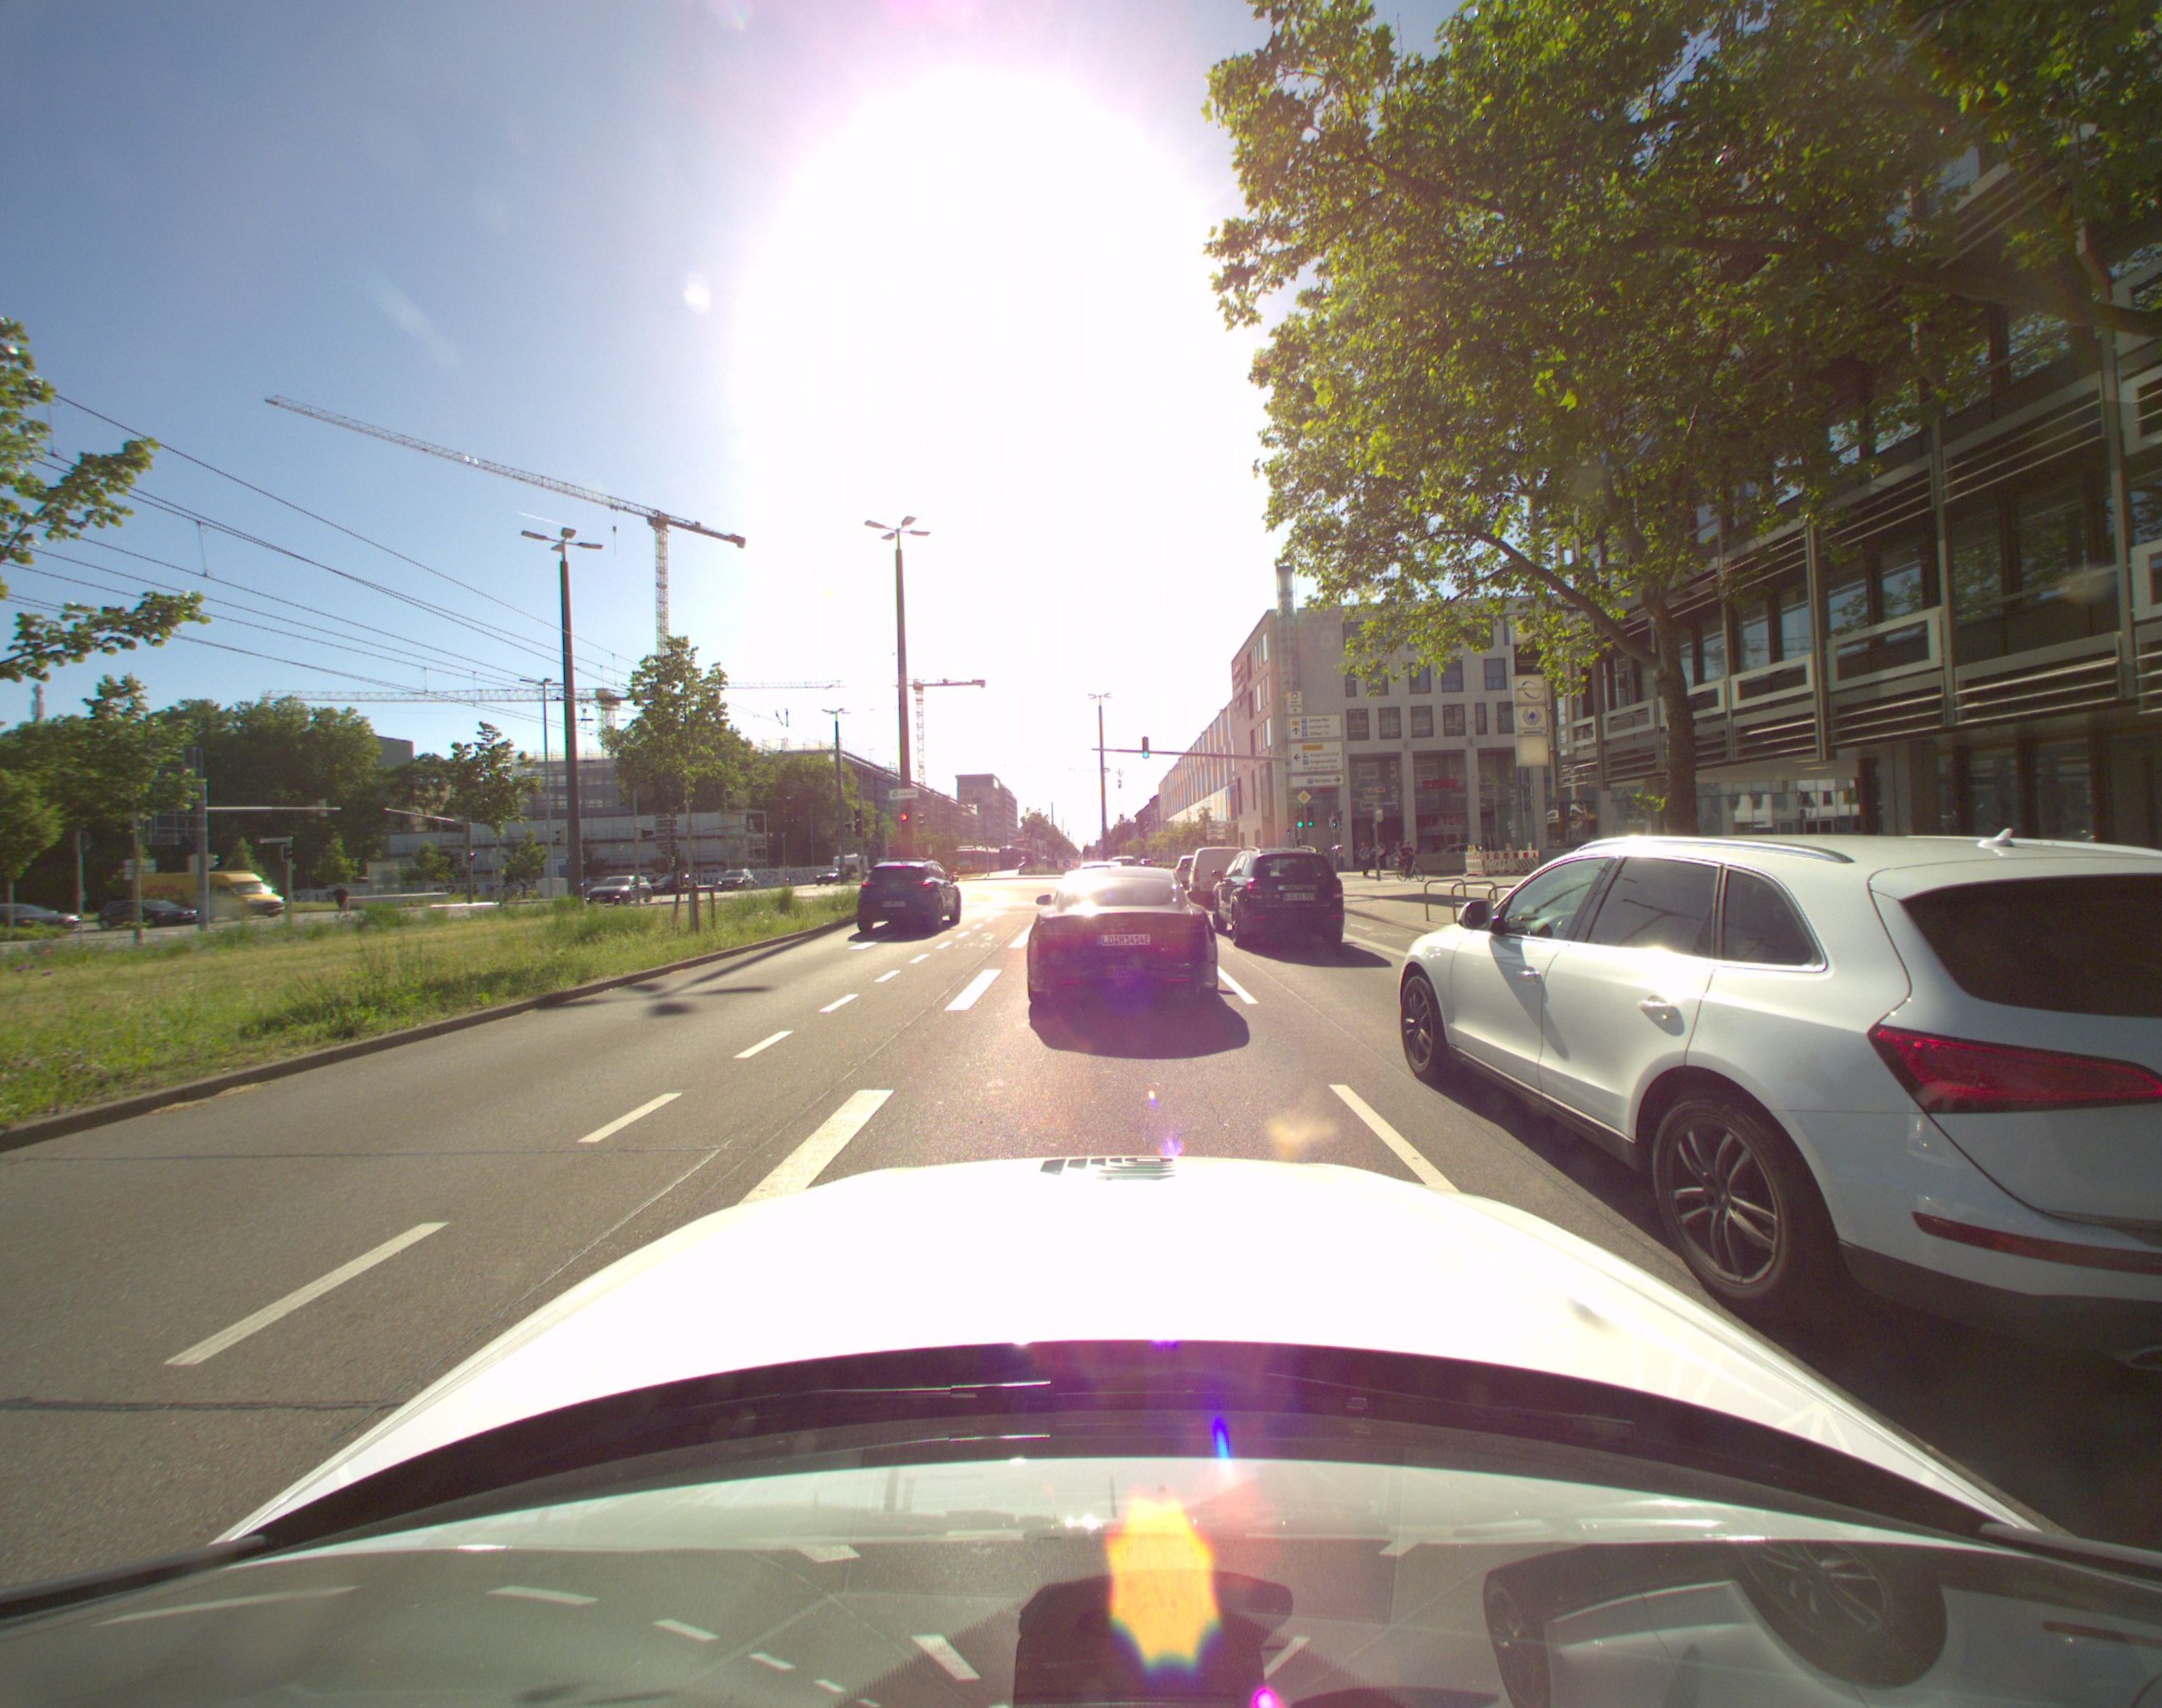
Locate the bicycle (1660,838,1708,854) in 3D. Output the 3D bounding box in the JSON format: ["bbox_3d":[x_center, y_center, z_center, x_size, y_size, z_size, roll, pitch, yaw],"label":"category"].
[{"bbox_3d":[44.347,-0.557,59.977,1.061,1.094,3.501,-2,0,4],"label":"bicycle"}]

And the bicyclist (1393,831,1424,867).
[{"bbox_3d":[13.654,-0.208,33.973,0.878,1.477,0.884,-2,0,1],"label":"bicyclist"}]

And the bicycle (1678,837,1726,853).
[{"bbox_3d":[45.533,-0.675,59.772,1.061,1.094,3.501,-2,0,4],"label":"bicycle"}]

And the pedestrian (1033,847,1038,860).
[{"bbox_3d":[-6.634,-0.065,119.355,0.669,1.811,1.074,-2,-1,0],"label":"pedestrian"}]

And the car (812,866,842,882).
[{"bbox_3d":[-28.679,2.210,92.114,1.987,1.707,4.558,-2,0,-1],"label":"car"}]

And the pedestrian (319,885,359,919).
[{"bbox_3d":[-39.061,2.504,42.893,1.187,1.685,0.948,-1,1,1],"label":"pedestrian"}]

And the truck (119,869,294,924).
[{"bbox_3d":[-50.100,2.412,46.746,7.967,2.793,2.467,-2,-1,6],"label":"truck"}]

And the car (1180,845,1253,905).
[{"bbox_3d":[4.322,0.630,26.531,1.777,1.733,4.165,-2,0,2],"label":"car"}]

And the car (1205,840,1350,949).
[{"bbox_3d":[3.501,0.655,15.336,1.777,1.699,4.415,-2,0,2],"label":"car"}]

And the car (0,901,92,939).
[{"bbox_3d":[-49.218,3.105,38.040,3.966,1.539,1.907,-2,-1,6],"label":"car"}]

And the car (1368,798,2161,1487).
[{"bbox_3d":[3.075,0.661,4.114,1.812,1.613,4.415,-2,0,2],"label":"car"}]

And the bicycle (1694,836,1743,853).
[{"bbox_3d":[46.762,-0.680,59.812,1.061,1.094,3.501,-2,0,4],"label":"bicycle"}]

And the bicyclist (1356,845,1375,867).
[{"bbox_3d":[20.369,0.133,58.315,1.017,1.476,1.073,-2,-1,5],"label":"bicyclist"}]

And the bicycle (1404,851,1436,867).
[{"bbox_3d":[25.363,0.383,61.034,1.061,1.094,3.500,-2,0,3],"label":"bicycle"}]

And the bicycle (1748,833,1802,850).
[{"bbox_3d":[50.686,-0.889,59.542,1.061,1.094,3.501,-2,0,4],"label":"bicycle"}]

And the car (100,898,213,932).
[{"bbox_3d":[-48.519,3.170,42.782,3.966,1.539,1.907,-2,-1,6],"label":"car"}]

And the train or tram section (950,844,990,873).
[{"bbox_3d":[-13.243,0.555,98.558,2.860,3.310,13.074,0,0,1],"label":"train or tram section"}]

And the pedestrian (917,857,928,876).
[{"bbox_3d":[-15.704,1.268,80.623,0.797,1.823,0.976,-2,0,-2],"label":"pedestrian"}]

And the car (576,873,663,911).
[{"bbox_3d":[-23.321,1.877,41.370,1.818,1.689,4.096,-2,0,4],"label":"car"}]

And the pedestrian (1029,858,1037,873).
[{"bbox_3d":[-5.489,1.299,93.582,0.739,1.628,0.862,-2,-1,2],"label":"pedestrian"}]

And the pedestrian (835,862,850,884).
[{"bbox_3d":[-19.679,1.575,67.182,0.792,1.823,0.887,-2,0,33],"label":"pedestrian"}]

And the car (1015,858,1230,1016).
[{"bbox_3d":[0.472,0.794,9.865,1.991,1.434,4.415,-1,0,2],"label":"car"}]

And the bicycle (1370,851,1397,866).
[{"bbox_3d":[22.794,0.354,61.462,1.061,1.094,2.993,-2,0,3],"label":"bicycle"}]

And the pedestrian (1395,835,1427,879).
[{"bbox_3d":[15.248,0.135,37.650,0.945,2.013,1.077,-2,0,-6],"label":"pedestrian"}]

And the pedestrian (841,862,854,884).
[{"bbox_3d":[-19.709,1.610,68.799,0.797,1.823,0.976,-2,0,-2],"label":"pedestrian"}]

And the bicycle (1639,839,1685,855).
[{"bbox_3d":[42.760,-0.484,60.035,1.061,1.094,3.501,-2,0,4],"label":"bicycle"}]

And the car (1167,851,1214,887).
[{"bbox_3d":[5.070,0.669,38.053,1.777,1.546,4.041,-2,0,2],"label":"car"}]

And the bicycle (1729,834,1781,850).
[{"bbox_3d":[49.065,-0.866,59.382,1.061,1.094,3.501,-2,0,4],"label":"bicycle"}]

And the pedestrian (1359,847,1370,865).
[{"bbox_3d":[25.531,0.212,73.357,0.559,1.608,0.742,-3,0,-35],"label":"pedestrian"}]

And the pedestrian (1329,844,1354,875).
[{"bbox_3d":[16.020,0.327,50.127,0.963,1.801,1.523,-4,-1,1],"label":"pedestrian"}]

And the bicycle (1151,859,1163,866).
[{"bbox_3d":[13.517,1.476,145.336,1.881,1.151,0.669,-4,-1,-10],"label":"bicycle"}]

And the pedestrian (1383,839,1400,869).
[{"bbox_3d":[17.612,-0.004,46.187,0.659,1.612,0.525,-4,-1,-8],"label":"pedestrian"}]

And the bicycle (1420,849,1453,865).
[{"bbox_3d":[26.546,0.231,60.898,1.061,1.094,3.500,-2,0,3],"label":"bicycle"}]

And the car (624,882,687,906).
[{"bbox_3d":[-33.354,3.089,63.906,1.976,1.601,4.021,-2,0,21],"label":"car"}]

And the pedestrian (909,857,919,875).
[{"bbox_3d":[-17.082,1.224,83.478,0.797,1.823,0.976,-2,0,-2],"label":"pedestrian"}]

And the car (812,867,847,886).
[{"bbox_3d":[-24.273,2.118,78.823,1.939,1.707,4.366,-2,0,0],"label":"car"}]

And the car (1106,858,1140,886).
[{"bbox_3d":[2.209,0.930,43.392,1.710,1.320,4.002,-2,0,2],"label":"car"}]

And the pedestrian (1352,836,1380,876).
[{"bbox_3d":[14.835,0.099,42.425,0.947,2.013,1.076,-2,0,-10],"label":"pedestrian"}]

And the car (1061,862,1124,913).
[{"bbox_3d":[0.379,0.957,24.745,1.710,1.320,4.002,-2,0,2],"label":"car"}]

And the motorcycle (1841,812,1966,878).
[{"bbox_3d":[19.463,-0.196,19.351,0.820,1.441,2.123,-2,0,2],"label":"motorcycle"}]

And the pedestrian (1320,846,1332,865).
[{"bbox_3d":[21.349,0.132,70.956,0.745,1.608,0.556,-3,0,0],"label":"pedestrian"}]

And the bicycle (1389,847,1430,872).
[{"bbox_3d":[13.664,0.228,33.932,0.878,0.984,2.051,-2,0,1],"label":"bicycle"}]

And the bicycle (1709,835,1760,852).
[{"bbox_3d":[47.931,-0.747,59.785,1.061,1.094,3.501,-2,0,4],"label":"bicycle"}]

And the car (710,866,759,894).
[{"bbox_3d":[-26.198,1.915,61.712,1.863,1.955,4.001,-2,0,1],"label":"car"}]

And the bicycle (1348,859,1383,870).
[{"bbox_3d":[20.352,0.730,58.299,2.183,0.671,1.073,-2,0,4],"label":"bicycle"}]

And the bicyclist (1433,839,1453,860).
[{"bbox_3d":[25.773,-0.297,57.998,0.928,1.433,1.042,-2,-1,4],"label":"bicyclist"}]

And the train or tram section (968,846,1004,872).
[{"bbox_3d":[-12.963,0.727,113.083,2.838,3.321,15.966,-1,-1,1],"label":"train or tram section"}]

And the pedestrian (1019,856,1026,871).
[{"bbox_3d":[-7.238,1.154,100.961,0.872,1.775,1.188,0,0,-2],"label":"pedestrian"}]

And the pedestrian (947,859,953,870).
[{"bbox_3d":[-16.120,1.294,100.359,0.669,1.226,0.506,0,-1,-2],"label":"pedestrian"}]

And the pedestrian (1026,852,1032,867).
[{"bbox_3d":[-6.282,0.631,97.935,0.701,1.775,0.959,0,0,-2],"label":"pedestrian"}]

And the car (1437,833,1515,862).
[{"bbox_3d":[26.014,-0.412,53.696,4.167,1.613,1.862,-2,-2,3],"label":"car"}]

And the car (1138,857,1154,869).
[{"bbox_3d":[8.717,1.164,110.078,1.927,1.542,4.002,-2,0,2],"label":"car"}]

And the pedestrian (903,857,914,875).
[{"bbox_3d":[-17.251,1.212,81.517,0.797,1.823,0.976,-2,0,-2],"label":"pedestrian"}]

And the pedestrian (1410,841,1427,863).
[{"bbox_3d":[27.241,-0.145,65.771,0.974,1.684,0.860,-2,0,-1],"label":"pedestrian"}]

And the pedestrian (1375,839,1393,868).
[{"bbox_3d":[17.405,-0.002,46.808,0.659,1.612,0.525,-4,-1,-8],"label":"pedestrian"}]

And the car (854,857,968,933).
[{"bbox_3d":[-3.900,0.881,19.356,1.764,1.588,4.089,0,0,1],"label":"car"}]

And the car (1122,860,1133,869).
[{"bbox_3d":[8.930,1.970,155.684,1.927,1.542,4.002,-2,0,2],"label":"car"}]

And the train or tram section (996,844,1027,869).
[{"bbox_3d":[-9.795,0.337,115.861,2.860,3.279,15.186,0,0,1],"label":"train or tram section"}]

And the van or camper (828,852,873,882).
[{"bbox_3d":[-24.502,1.341,87.028,2.597,2.937,7.340,-2,0,0],"label":"van or camper"}]

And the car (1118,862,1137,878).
[{"bbox_3d":[4.554,1.527,80.049,1.710,1.432,4.002,-2,0,2],"label":"car"}]
